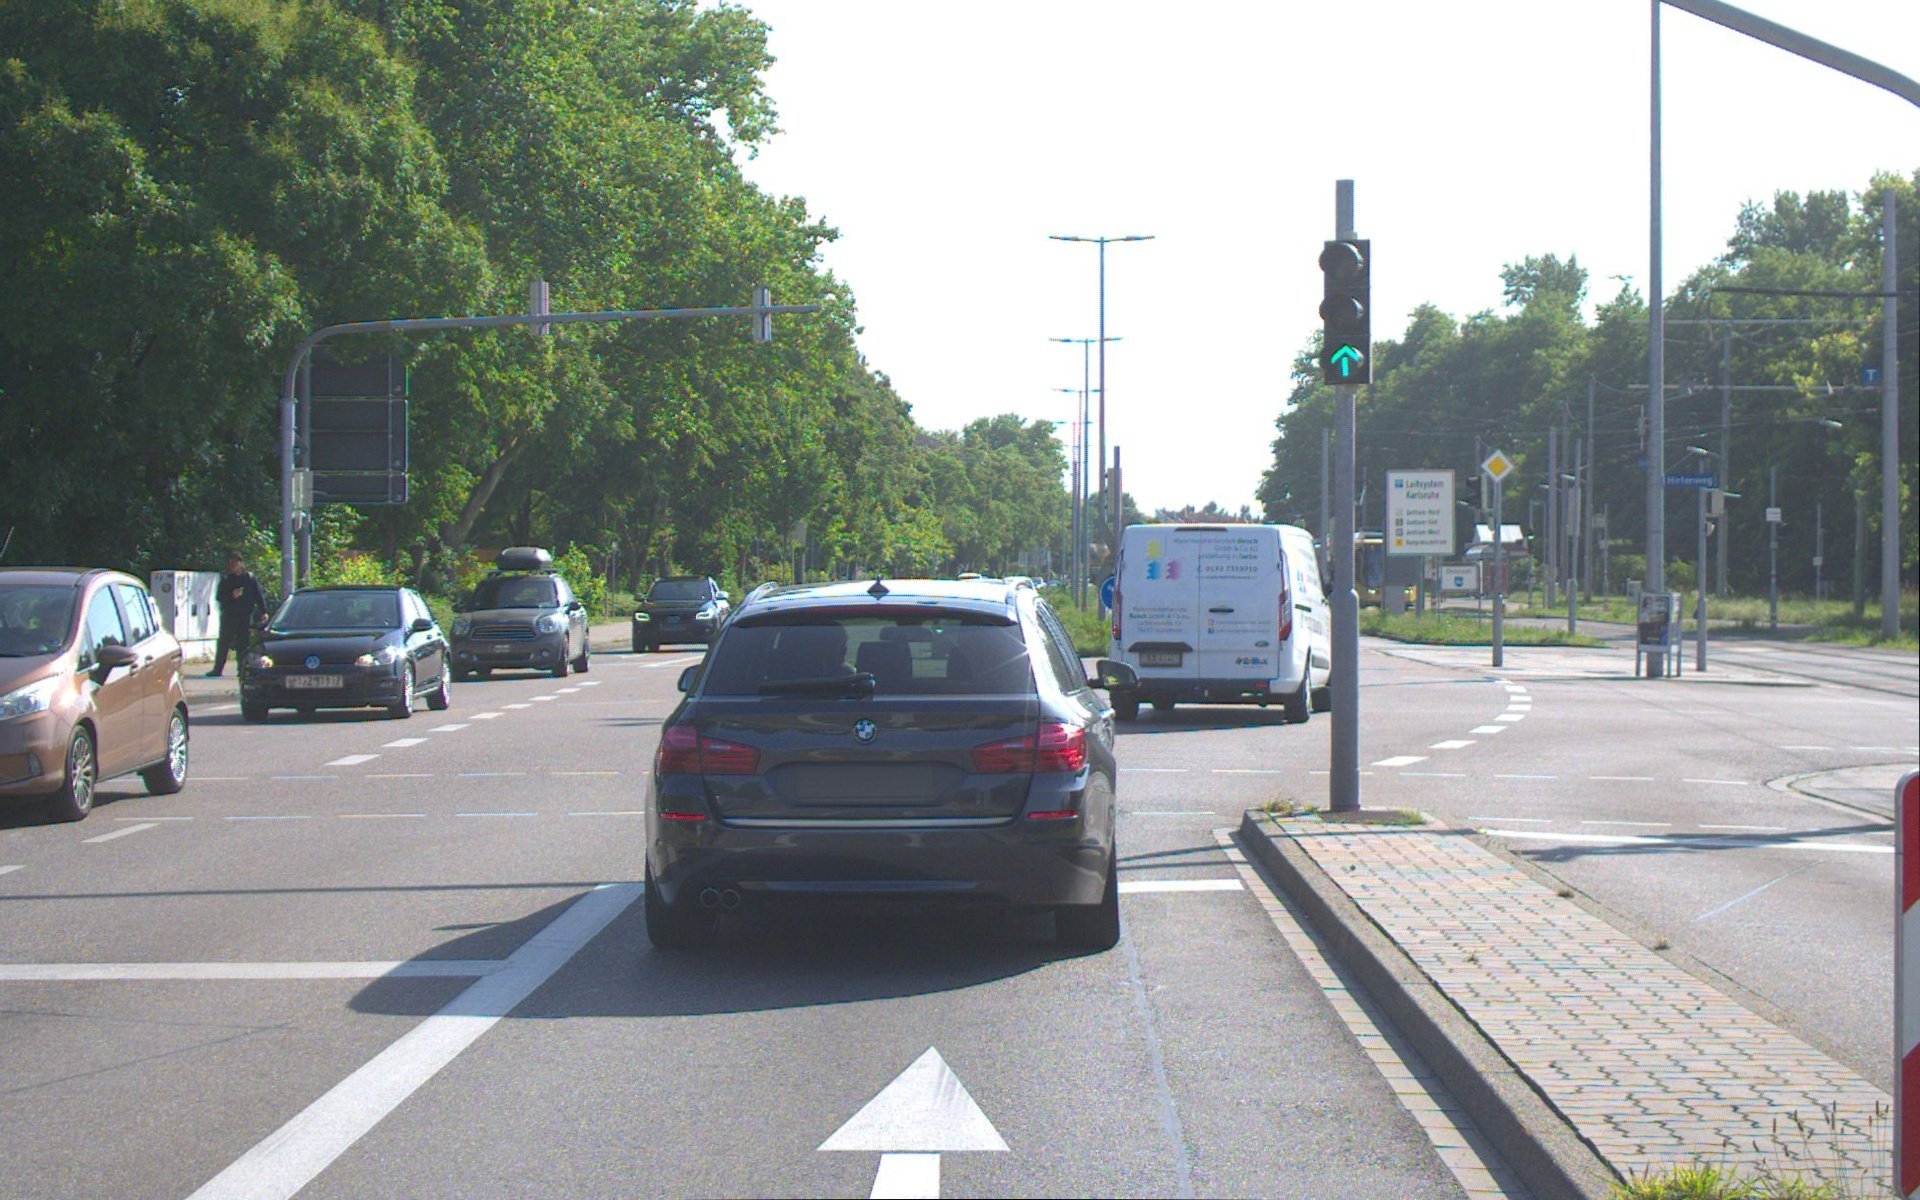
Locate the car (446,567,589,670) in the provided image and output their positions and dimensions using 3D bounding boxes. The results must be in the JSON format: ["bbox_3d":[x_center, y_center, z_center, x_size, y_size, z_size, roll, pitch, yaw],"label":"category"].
[{"bbox_3d":[-6.792,0.260,53.092,1.788,1.515,4.000,0,1,-2],"label":"car"}]

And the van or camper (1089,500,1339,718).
[{"bbox_3d":[2.696,0.060,35.508,1.994,2.089,4.596,0,1,12],"label":"van or camper"}]

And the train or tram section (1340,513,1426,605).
[{"bbox_3d":[17.483,-1.636,142.712,2.796,3.606,12.954,1,0,4],"label":"train or tram section"}]

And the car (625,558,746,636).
[{"bbox_3d":[-6.029,-0.088,75.980,1.989,1.653,4.384,0,1,4],"label":"car"}]

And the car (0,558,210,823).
[{"bbox_3d":[-6.234,0.534,22.342,1.745,1.556,4.000,-1,1,1],"label":"car"}]

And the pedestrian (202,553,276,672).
[{"bbox_3d":[-10.691,0.173,50.996,0.816,1.746,0.931,1,1,6],"label":"pedestrian"}]

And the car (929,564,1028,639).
[{"bbox_3d":[0.407,0.002,69.270,1.829,1.426,4.731,-1,1,2],"label":"car"}]

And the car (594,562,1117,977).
[{"bbox_3d":[-0.292,0.598,14.579,1.903,1.500,4.065,0,1,3],"label":"car"}]

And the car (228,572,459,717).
[{"bbox_3d":[-6.656,0.444,37.508,1.888,1.469,4.100,0,1,-2],"label":"car"}]
